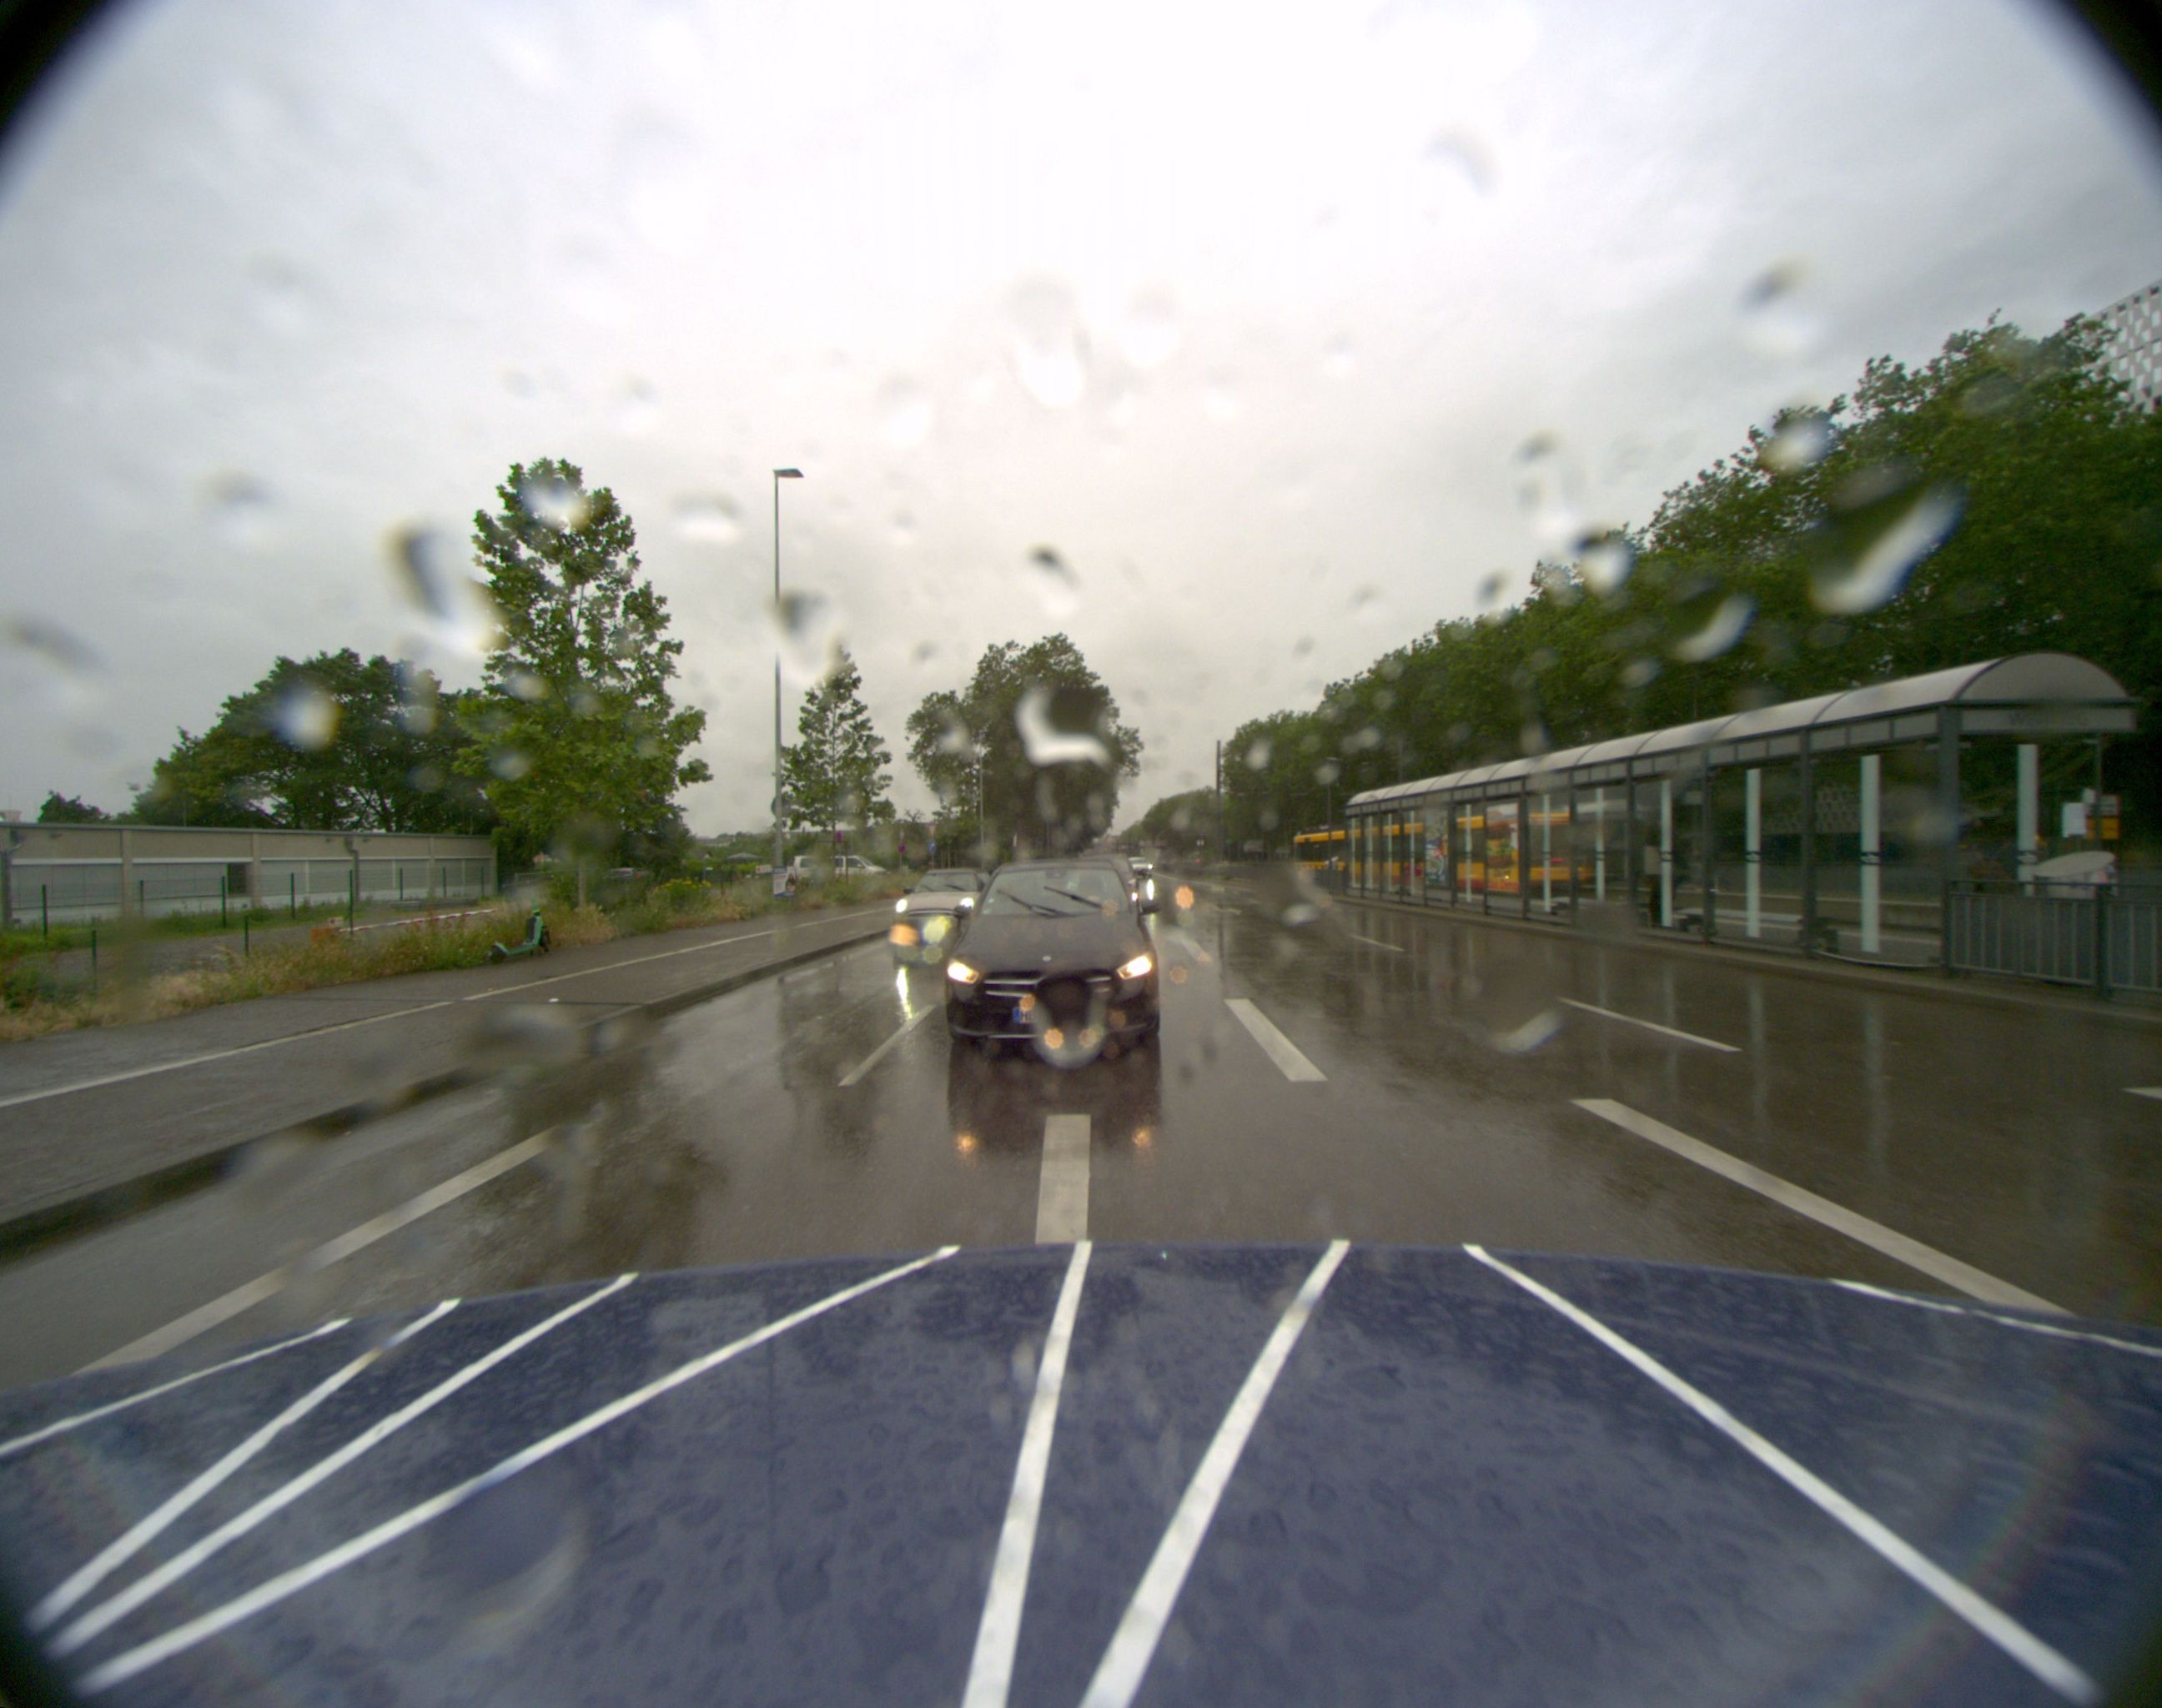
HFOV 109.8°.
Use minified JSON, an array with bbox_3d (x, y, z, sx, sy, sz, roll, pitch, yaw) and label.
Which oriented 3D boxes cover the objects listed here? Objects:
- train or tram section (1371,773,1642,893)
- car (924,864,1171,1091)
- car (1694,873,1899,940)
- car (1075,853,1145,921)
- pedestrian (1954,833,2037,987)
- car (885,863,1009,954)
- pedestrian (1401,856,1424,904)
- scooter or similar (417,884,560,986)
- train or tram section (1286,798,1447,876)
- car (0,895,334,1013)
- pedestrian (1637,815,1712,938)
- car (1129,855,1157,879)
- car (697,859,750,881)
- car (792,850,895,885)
[{"bbox_3d":[16.563,-0.769,31.658,3.751,3.817,13.253,-2,1,0],"label":"train or tram section"},{"bbox_3d":[-0.332,0.931,7.663,1.759,1.572,4.168,-2,0,-3],"label":"car"},{"bbox_3d":[16.513,1.145,17.792,1.539,1.311,3.549,0,0,2],"label":"car"},{"bbox_3d":[0.756,0.797,20.250,1.689,1.611,4.000,0,0,2],"label":"car"},{"bbox_3d":[9.146,0.545,7.606,0.321,1.485,0.415,-3,2,6],"label":"pedestrian"},{"bbox_3d":[-2.626,1.014,15.794,1.706,1.499,3.879,-2,1,2],"label":"car"},{"bbox_3d":[8.631,0.674,19.770,0.458,1.229,0.467,-1,2,15],"label":"pedestrian"},{"bbox_3d":[-8.252,1.079,10.699,0.367,1.192,1.913,-2,1,4],"label":"scooter or similar"},{"bbox_3d":[16.515,-0.918,46.095,3.751,3.777,15.569,-2,1,0],"label":"train or tram section"},{"bbox_3d":[-12.090,1.288,10.039,3.243,1.281,1.345,-2,1,6],"label":"car"},{"bbox_3d":[9.261,0.340,11.887,0.655,1.860,0.773,-2,1,17],"label":"pedestrian"},{"bbox_3d":[5.003,0.999,61.989,1.935,1.765,4.663,-2,1,1],"label":"car"},{"bbox_3d":[-28.305,1.280,60.229,3.552,1.575,1.345,-2,1,6],"label":"car"},{"bbox_3d":[-13.493,0.745,43.396,5.174,1.715,2.006,-2,1,-1],"label":"car"}]
